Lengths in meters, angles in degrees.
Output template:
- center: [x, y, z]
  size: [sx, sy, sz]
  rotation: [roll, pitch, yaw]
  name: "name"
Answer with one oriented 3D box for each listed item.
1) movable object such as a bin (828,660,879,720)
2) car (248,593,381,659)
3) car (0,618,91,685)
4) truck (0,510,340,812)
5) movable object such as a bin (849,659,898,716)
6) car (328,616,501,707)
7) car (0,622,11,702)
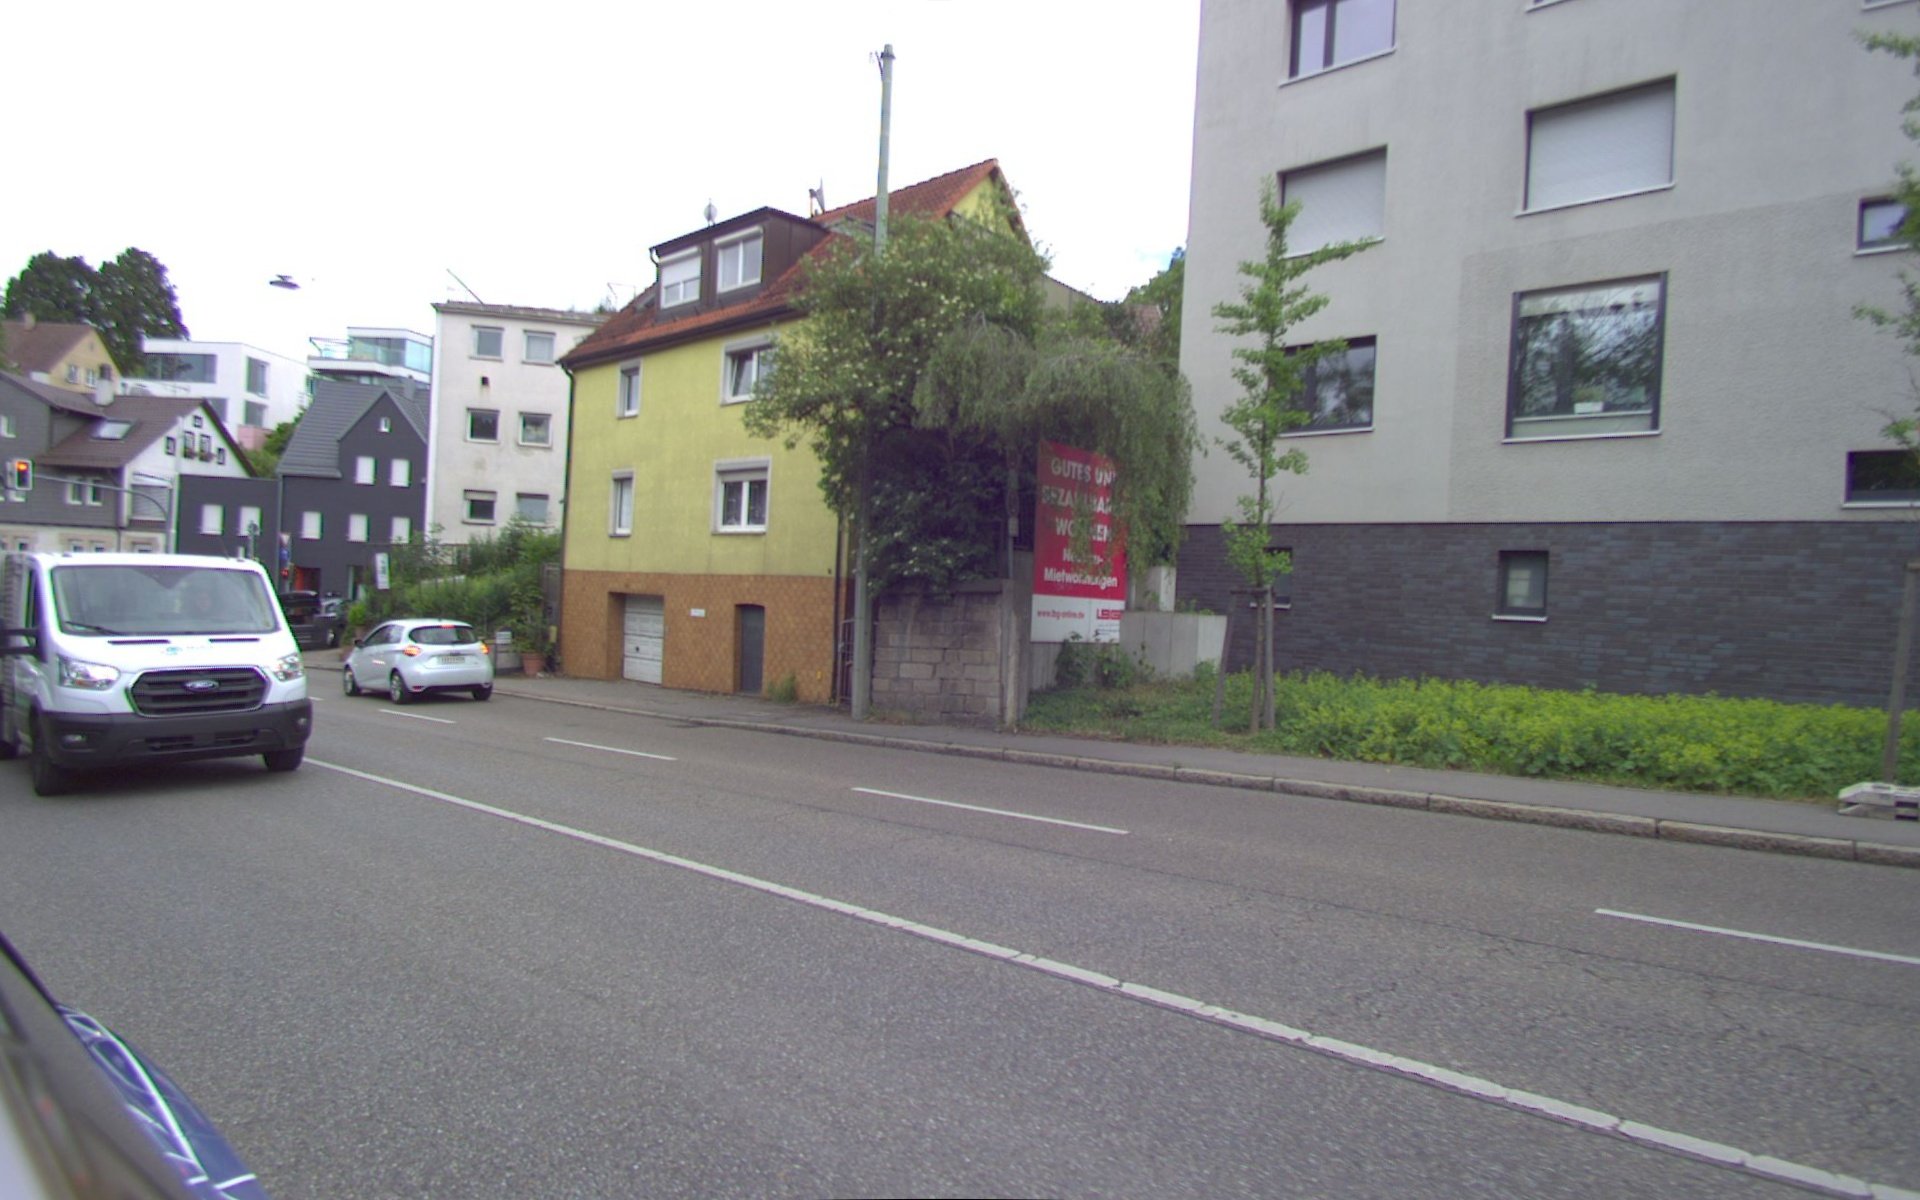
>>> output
- center: [-1.723, 1.449, 16.382]
  size: [0.606, 0.892, 0.565]
  rotation: [1, 0, 24]
  name: "movable object such as a bin"
- center: [-23.128, 0.854, 36.504]
  size: [2.281, 1.724, 4.715]
  rotation: [-4, 5, -10]
  name: "car"
- center: [-26.123, 1.377, 28.415]
  size: [4.342, 1.708, 1.877]
  rotation: [-1, 0, 39]
  name: "car"
- center: [-8.916, 0.529, 10.616]
  size: [6.323, 2.339, 2.055]
  rotation: [-1, -1, 38]
  name: "truck"
- center: [-1.440, 1.445, 16.836]
  size: [0.606, 0.892, 0.565]
  rotation: [-1, 1, 24]
  name: "movable object such as a bin"
- center: [-10.852, 1.183, 20.022]
  size: [4.055, 1.626, 1.725]
  rotation: [-2, -4, 42]
  name: "car"
- center: [-20.294, 1.198, 19.655]
  size: [4.391, 1.492, 1.894]
  rotation: [0, 2, 36]
  name: "car"
